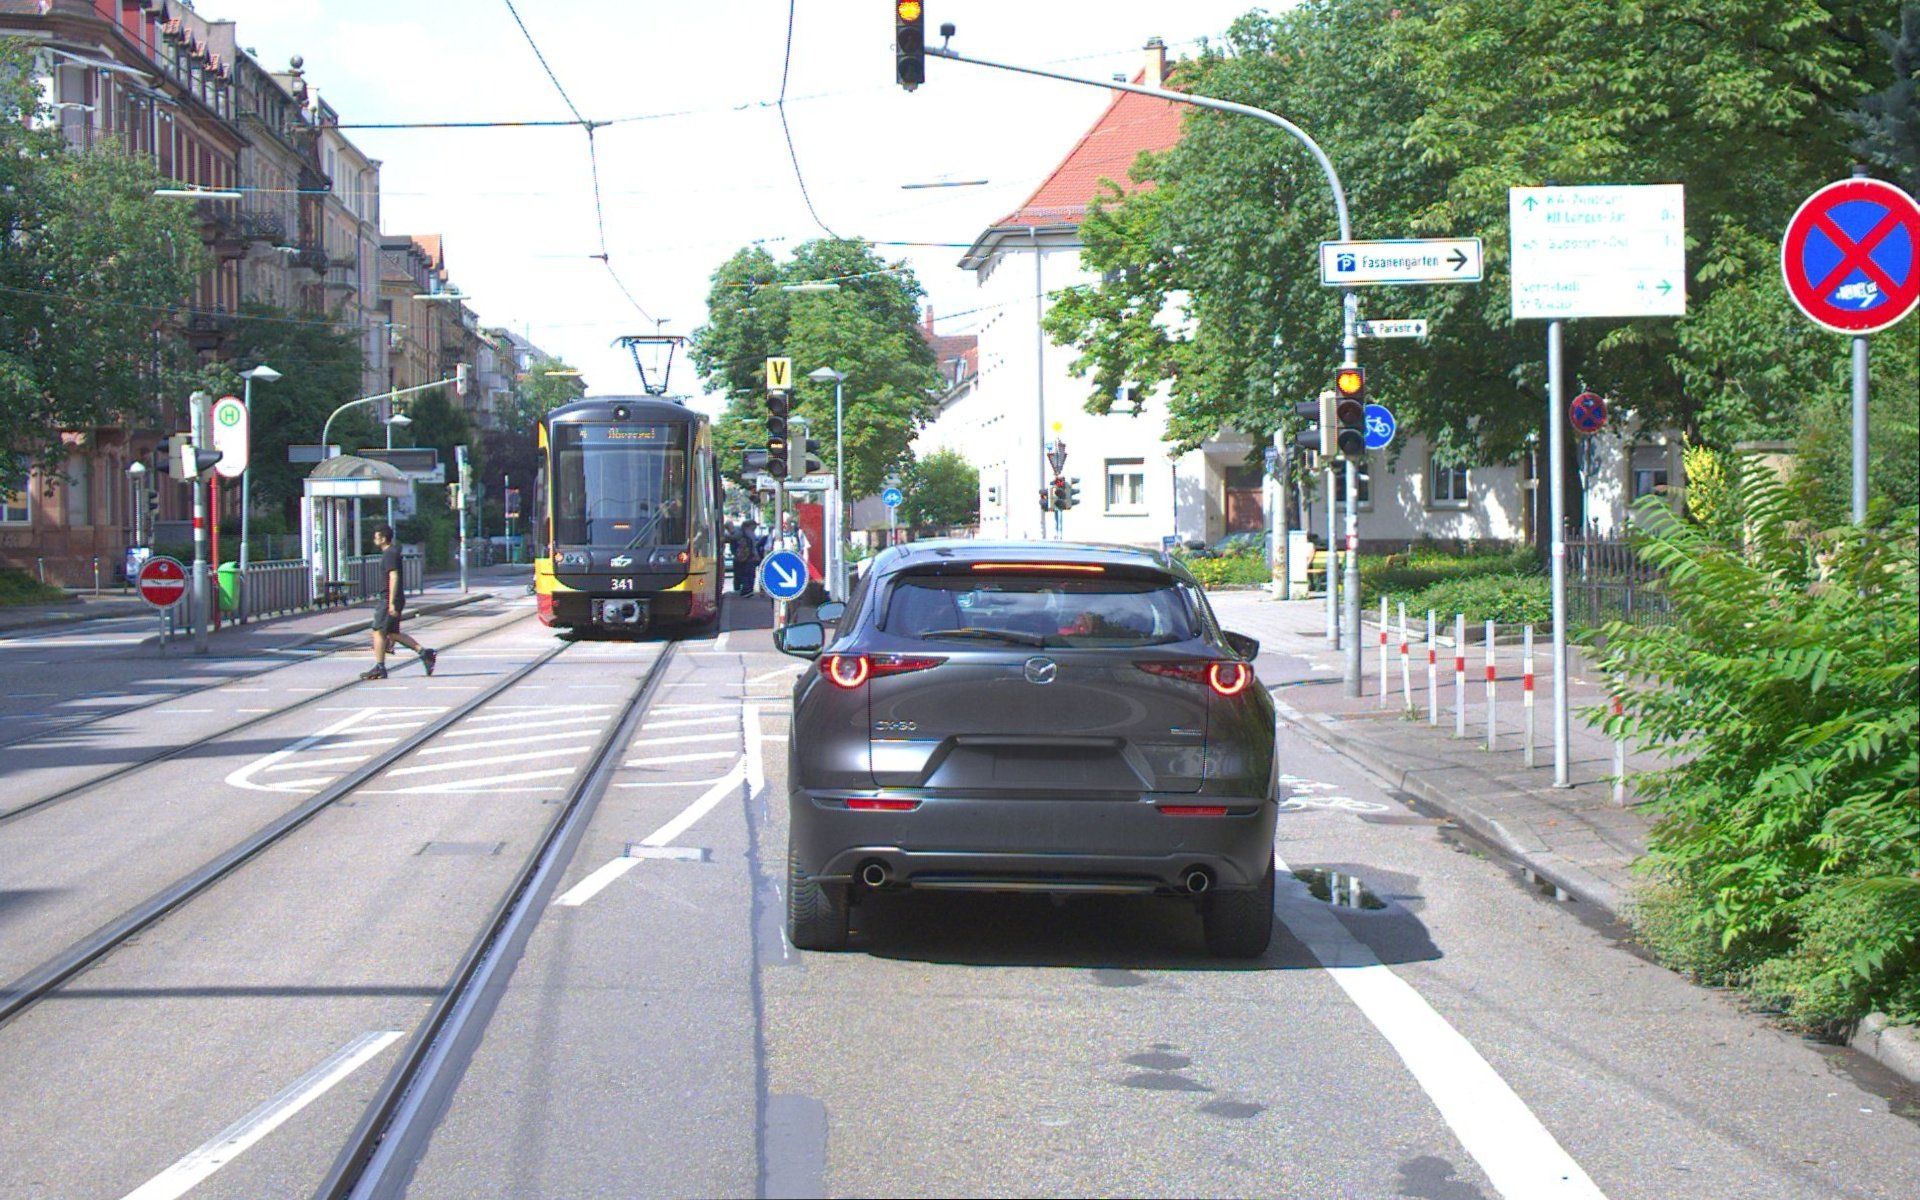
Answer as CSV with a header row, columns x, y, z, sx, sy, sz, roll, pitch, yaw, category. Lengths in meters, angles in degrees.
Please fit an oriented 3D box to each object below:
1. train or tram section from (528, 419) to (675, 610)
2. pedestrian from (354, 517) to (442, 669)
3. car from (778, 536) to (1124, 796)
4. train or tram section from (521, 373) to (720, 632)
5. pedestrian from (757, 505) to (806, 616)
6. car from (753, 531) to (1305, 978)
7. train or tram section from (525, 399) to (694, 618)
x,y,z,sx,sy,sz,roll,pitch,yaw,category
-7.221,-1.673,68.665,2.651,3.515,8.498,-1,1,-7,train or tram section
-5.983,-0.080,36.645,0.874,1.599,0.632,0,1,-6,pedestrian
-0.175,0.346,23.030,1.784,1.487,4.884,-1,2,-6,car
-5.197,-1.417,51.744,2.651,3.515,8.498,-1,1,-7,train or tram section
-2.598,-0.583,49.973,0.667,1.599,0.700,0,1,-5,pedestrian
0.111,0.494,14.025,1.789,1.507,4.352,0,1,-5,car
-6.211,-1.554,60.195,2.651,3.515,8.498,-1,1,-7,train or tram section
